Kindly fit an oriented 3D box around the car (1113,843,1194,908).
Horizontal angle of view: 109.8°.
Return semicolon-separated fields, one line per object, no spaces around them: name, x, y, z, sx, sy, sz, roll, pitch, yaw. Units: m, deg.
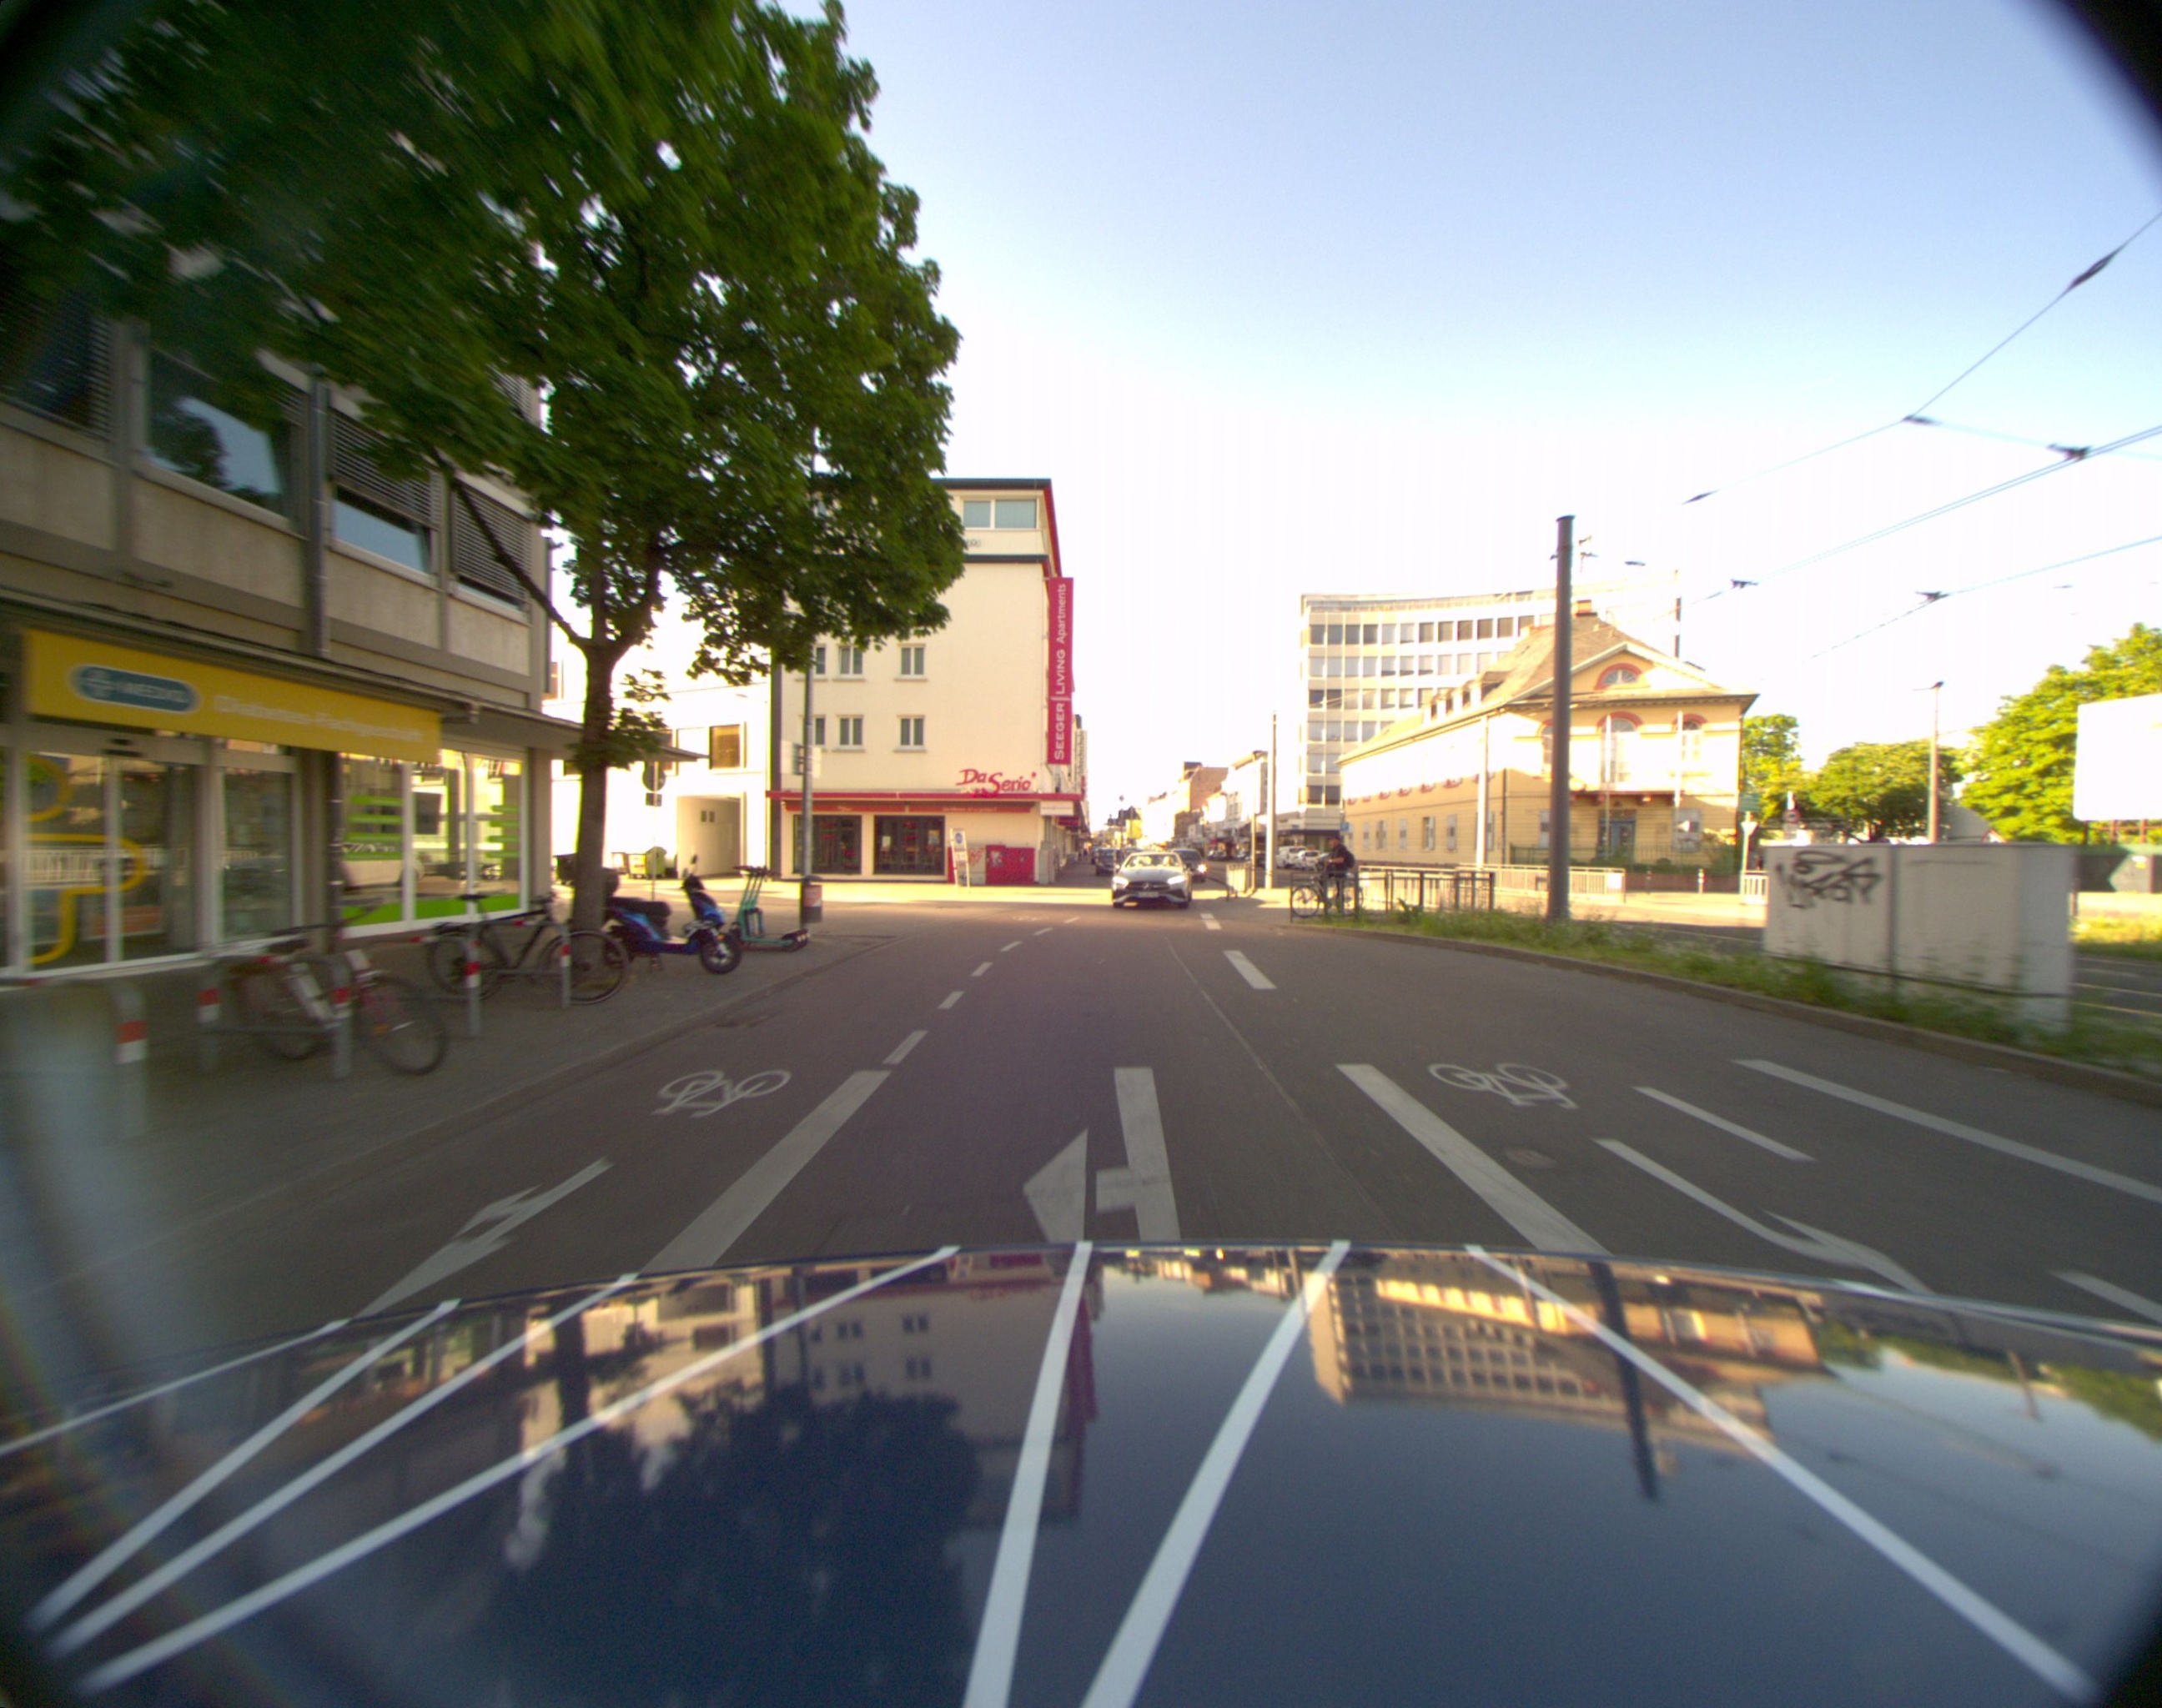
car;1.814;0.469;19.938;1.868;1.431;4.774;0;2;3

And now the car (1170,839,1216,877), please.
car;5.403;0.156;37.049;1.737;1.654;3.960;2;2;2

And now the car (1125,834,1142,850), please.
car;5.970;-1.368;86.056;1.737;1.654;3.960;2;2;2

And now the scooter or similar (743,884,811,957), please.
scooter or similar;-4.477;0.974;11.176;0.958;1.033;0.160;1;2;6

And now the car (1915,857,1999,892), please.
car;38.558;0.860;33.533;1.645;1.339;3.767;1;2;37

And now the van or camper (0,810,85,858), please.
van or camper;-45.989;-0.863;32.134;1.883;1.937;4.761;2;-2;-10

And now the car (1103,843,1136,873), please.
car;2.170;0.172;43.598;1.781;1.560;3.960;2;2;2

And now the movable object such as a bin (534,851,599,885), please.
movable object such as a bin;-20.180;0.529;29.815;1.646;1.282;1.420;1;2;24

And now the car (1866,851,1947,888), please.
car;41.479;0.739;38.278;1.888;1.661;3.871;1;2;34

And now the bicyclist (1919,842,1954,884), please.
bicyclist;34.305;0.354;30.466;0.521;1.664;0.771;1;2;11

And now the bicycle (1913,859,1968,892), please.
bicycle;34.307;0.843;30.366;0.530;1.207;1.887;1;2;17

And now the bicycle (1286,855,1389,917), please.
bicycle;5.138;0.621;15.278;1.825;1.205;0.641;0;2;-4

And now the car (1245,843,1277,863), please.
car;15.294;-0.103;64.735;1.689;1.551;4.121;0;2;-1

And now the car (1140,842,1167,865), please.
car;5.536;-0.060;58.330;1.783;1.654;3.960;2;2;2

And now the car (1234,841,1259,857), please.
car;18.779;-0.578;86.381;1.930;1.633;4.280;-1;2;-1

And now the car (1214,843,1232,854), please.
car;19.592;-0.799;104.622;1.786;1.409;3.596;0;2;0

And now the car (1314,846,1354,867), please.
car;18.715;0.179;56.336;1.781;1.431;3.960;-1;2;2

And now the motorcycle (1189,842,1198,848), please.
motorcycle;16.312;-1.334;110.033;0.601;0.921;2.153;0;2;-8

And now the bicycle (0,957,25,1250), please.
bicycle;-5.140;0.972;2.800;1.814;1.145;0.435;1;2;-1

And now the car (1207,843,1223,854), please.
car;19.362;-0.877;110.100;1.786;1.511;3.832;0;2;1

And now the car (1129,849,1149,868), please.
car;5.725;0.405;75.281;1.737;1.654;3.781;2;2;2

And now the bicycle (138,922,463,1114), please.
bicycle;-4.928;0.997;4.820;1.770;1.051;0.458;0;2;8

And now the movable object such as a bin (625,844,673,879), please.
movable object such as a bin;-18.330;0.299;32.270;1.217;1.432;1.284;1;2;24

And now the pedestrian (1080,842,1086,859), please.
pedestrian;0.214;-0.358;82.197;0.706;1.807;0.807;0;1;-1

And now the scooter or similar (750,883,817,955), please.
scooter or similar;-4.457;0.973;11.373;0.965;1.037;0.160;1;2;6

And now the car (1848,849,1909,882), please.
car;44.696;0.591;42.653;1.797;1.661;3.763;2;2;38

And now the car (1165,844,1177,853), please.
car;16.315;-0.968;137.880;1.781;1.501;3.859;2;1;1

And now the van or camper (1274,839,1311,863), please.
van or camper;18.850;-0.293;67.951;1.959;1.962;4.796;-1;2;1

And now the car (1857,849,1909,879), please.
car;48.339;0.546;45.865;1.797;1.661;3.764;2;2;41

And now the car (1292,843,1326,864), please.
car;18.662;-0.090;62.270;1.781;1.611;4.176;-1;2;4

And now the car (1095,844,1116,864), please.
car;2.320;-0.022;71.839;1.783;1.654;4.162;2;2;2

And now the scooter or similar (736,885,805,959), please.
scooter or similar;-4.486;0.978;10.975;0.965;1.021;0.160;1;2;6

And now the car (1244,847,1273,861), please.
car;18.920;-0.017;81.127;1.931;1.444;4.291;-1;2;-2

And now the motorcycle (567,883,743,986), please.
motorcycle;-4.946;0.916;8.871;1.791;1.123;0.504;0;2;4

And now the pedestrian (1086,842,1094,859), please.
pedestrian;0.935;-0.371;79.253;0.738;1.807;0.748;0;2;-1

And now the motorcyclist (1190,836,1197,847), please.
motorcyclist;16.291;-1.781;110.087;0.654;1.550;0.883;0;2;-8

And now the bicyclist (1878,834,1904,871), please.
bicyclist;37.254;-0.079;34.946;0.521;1.664;0.771;1;2;23

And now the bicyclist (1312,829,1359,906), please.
bicyclist;5.101;0.252;15.257;0.683;1.515;0.634;0;2;-4

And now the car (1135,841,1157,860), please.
car;5.926;-0.332;69.696;1.737;1.654;3.960;2;2;2

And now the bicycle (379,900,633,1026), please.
bicycle;-5.126;0.976;6.841;1.856;1.050;0.399;2;2;-8
